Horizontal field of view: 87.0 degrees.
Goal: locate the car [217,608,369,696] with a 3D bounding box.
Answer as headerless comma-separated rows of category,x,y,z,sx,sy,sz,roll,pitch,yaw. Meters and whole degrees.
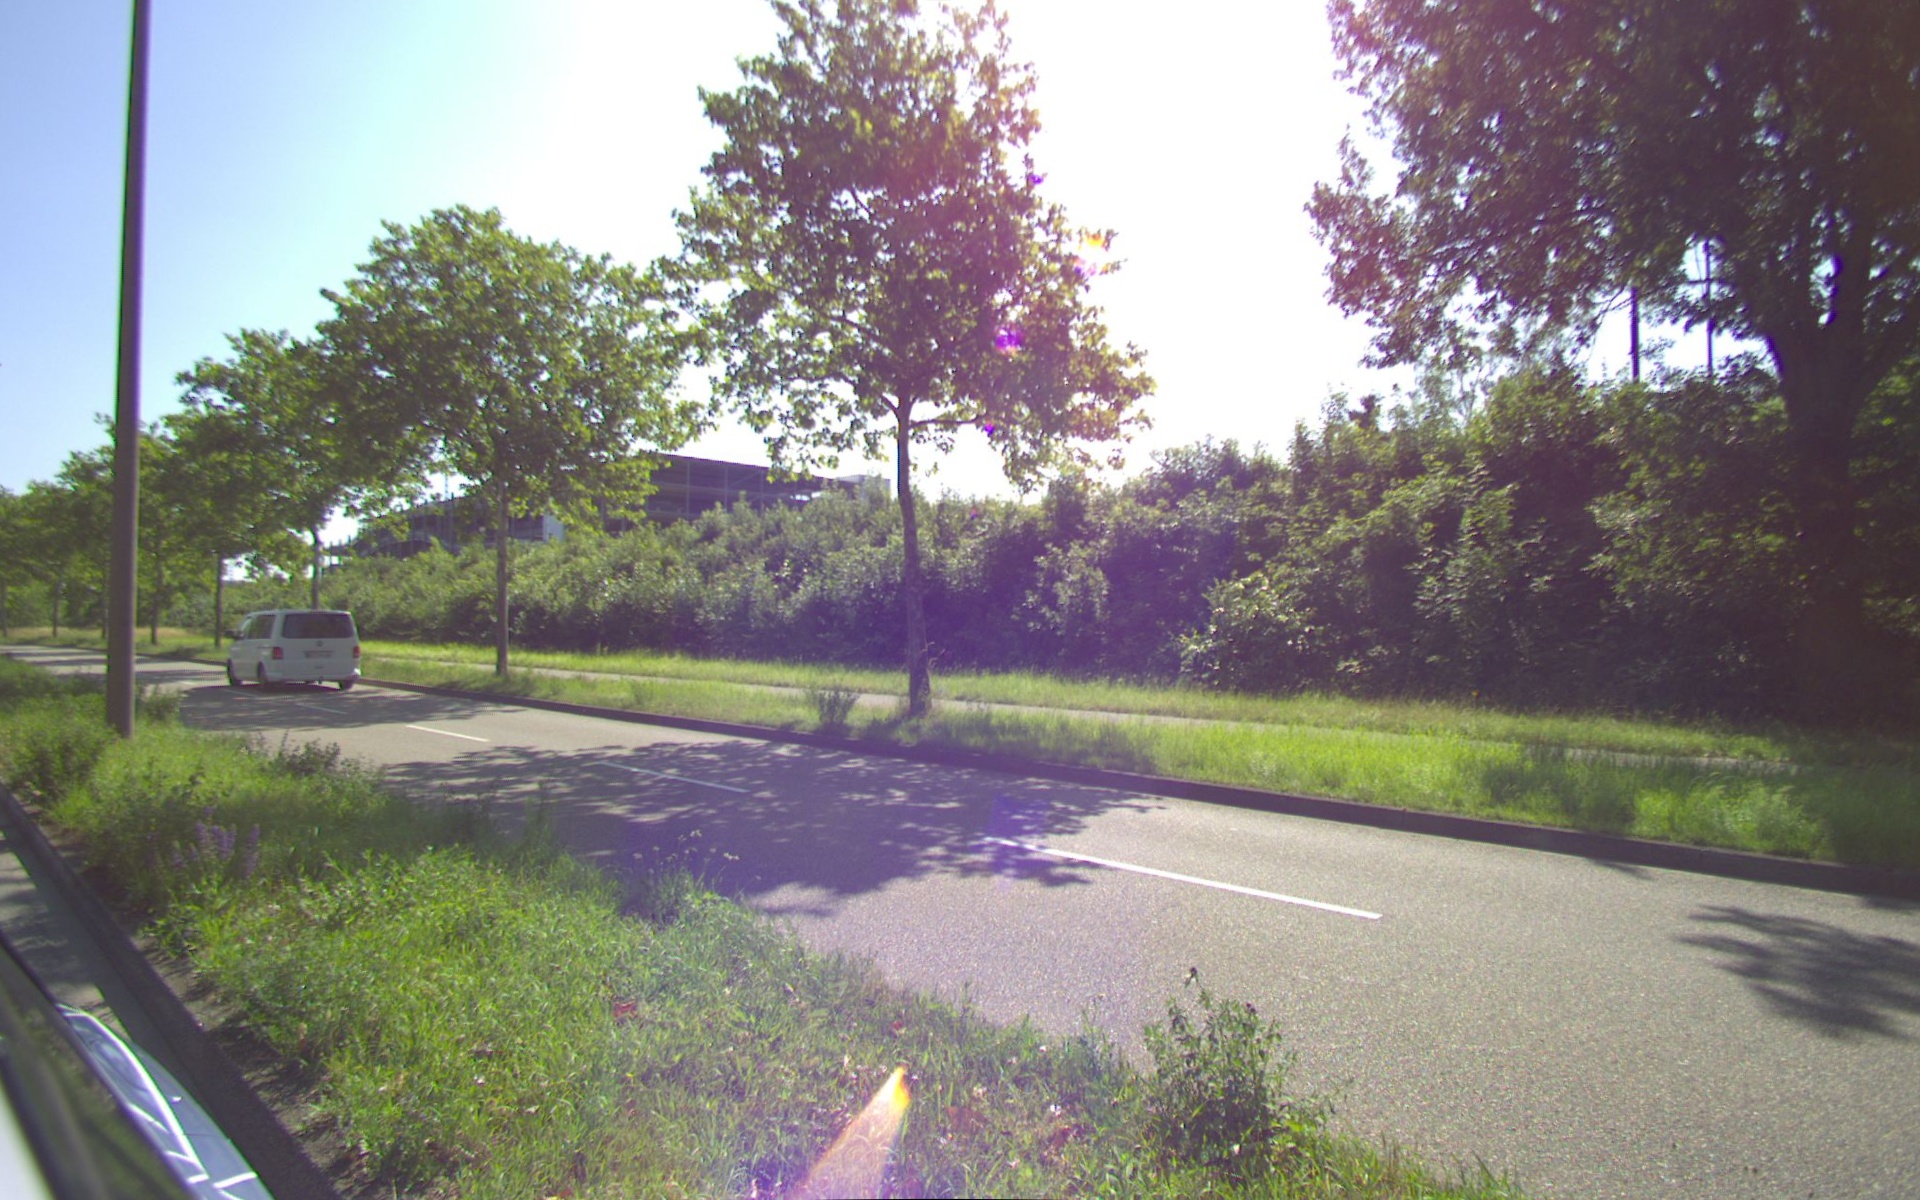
car,-16.203,1.229,24.493,4.574,1.912,1.972,-1,-4,43
